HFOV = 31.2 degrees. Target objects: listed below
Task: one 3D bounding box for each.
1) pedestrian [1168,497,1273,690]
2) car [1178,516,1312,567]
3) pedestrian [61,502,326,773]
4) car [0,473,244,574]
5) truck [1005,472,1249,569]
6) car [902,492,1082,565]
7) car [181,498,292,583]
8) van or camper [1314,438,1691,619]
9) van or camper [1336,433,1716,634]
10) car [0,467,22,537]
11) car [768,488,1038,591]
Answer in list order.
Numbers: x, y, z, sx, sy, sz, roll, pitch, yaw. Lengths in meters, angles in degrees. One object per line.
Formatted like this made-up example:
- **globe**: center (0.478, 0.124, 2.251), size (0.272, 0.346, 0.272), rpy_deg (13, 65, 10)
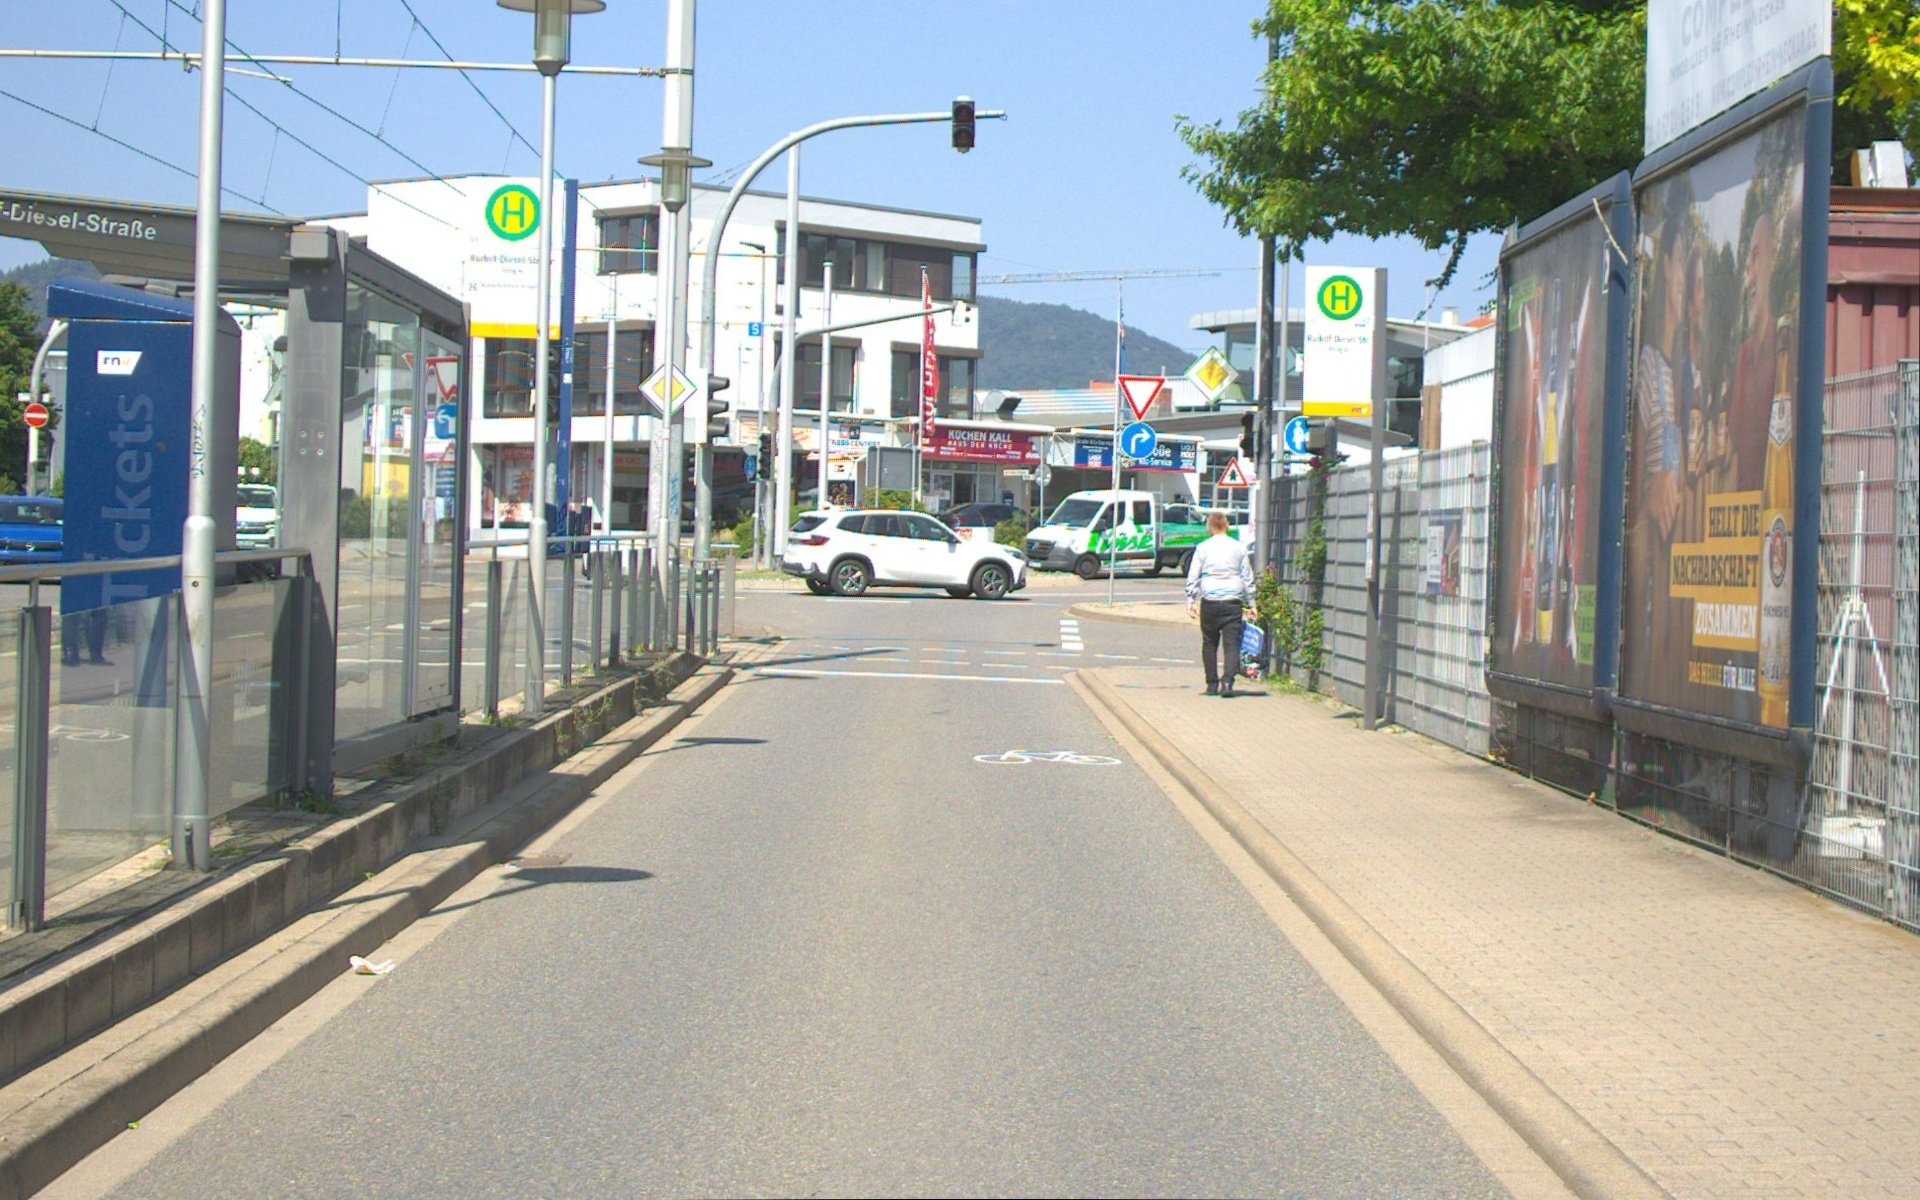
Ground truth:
- **pedestrian**: center (2.338, -0.067, 30.916), size (0.812, 1.693, 0.887), rpy_deg (1, 1, -2)
- **car**: center (9.659, -1.956, 116.257), size (1.885, 1.583, 4.915), rpy_deg (0, 0, 43)
- **pedestrian**: center (-3.294, 0.149, 14.827), size (0.943, 1.095, 0.726), rpy_deg (3, 2, -1)
- **car**: center (-14.165, -1.285, 57.294), size (4.147, 1.531, 1.807), rpy_deg (2, 1, -19)
- **truck**: center (4.467, -2.093, 91.123), size (6.369, 2.329, 2.209), rpy_deg (1, 1, -35)
- **car**: center (0.950, -2.074, 99.870), size (5.266, 1.959, 1.965), rpy_deg (1, 2, -43)
- **car**: center (-18.450, -1.506, 87.891), size (2.162, 2.007, 5.019), rpy_deg (2, 0, -6)
- **van or camper**: center (8.782, -1.185, 56.084), size (5.811, 2.764, 2.091), rpy_deg (1, 2, 3)
- **van or camper**: center (8.694, -1.067, 53.232), size (5.507, 2.804, 2.048), rpy_deg (3, 3, 4)
- **car**: center (-21.168, -2.101, 72.153), size (1.906, 1.437, 4.596), rpy_deg (1, 2, -28)
- **car**: center (-1.061, -1.118, 63.236), size (4.547, 1.727, 2.001), rpy_deg (1, 1, -16)
